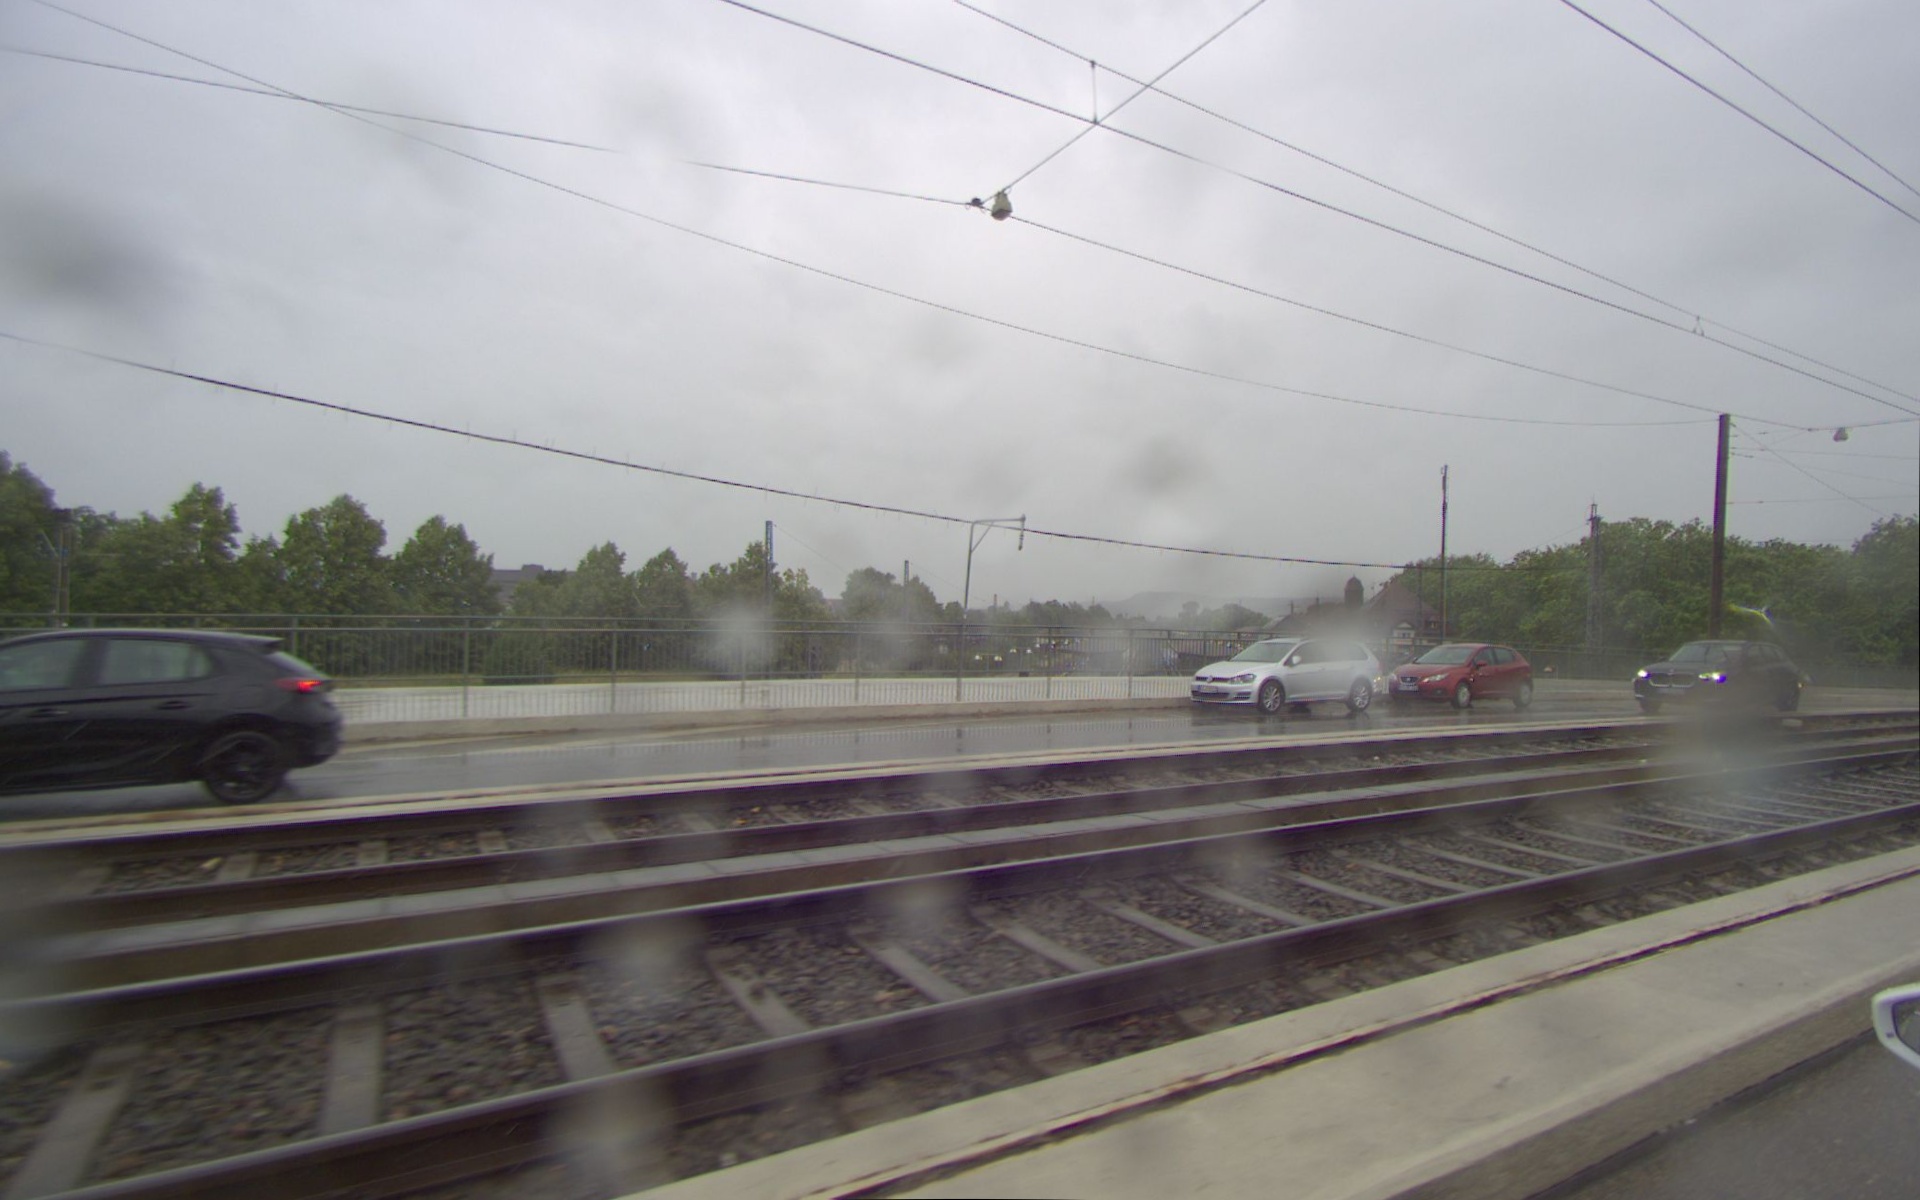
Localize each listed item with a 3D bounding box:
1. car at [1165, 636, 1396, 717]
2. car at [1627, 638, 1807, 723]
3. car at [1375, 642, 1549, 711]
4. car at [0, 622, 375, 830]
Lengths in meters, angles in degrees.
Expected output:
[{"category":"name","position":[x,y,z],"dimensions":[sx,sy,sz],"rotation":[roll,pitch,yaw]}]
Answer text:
[{"category":"car","position":[6.543,1.521,20.392],"dimensions":[4.568,1.474,1.984],"rotation":[2,-3,-31]},{"category":"car","position":[17.061,1.777,22.622],"dimensions":[3.953,1.676,1.809],"rotation":[2,0,-30]},{"category":"car","position":[11.720,1.754,23.375],"dimensions":[4.274,1.474,1.612],"rotation":[2,-3,-31]},{"category":"car","position":[-7.287,0.982,8.444],"dimensions":[4.046,1.529,1.984],"rotation":[2,-3,-31]}]
